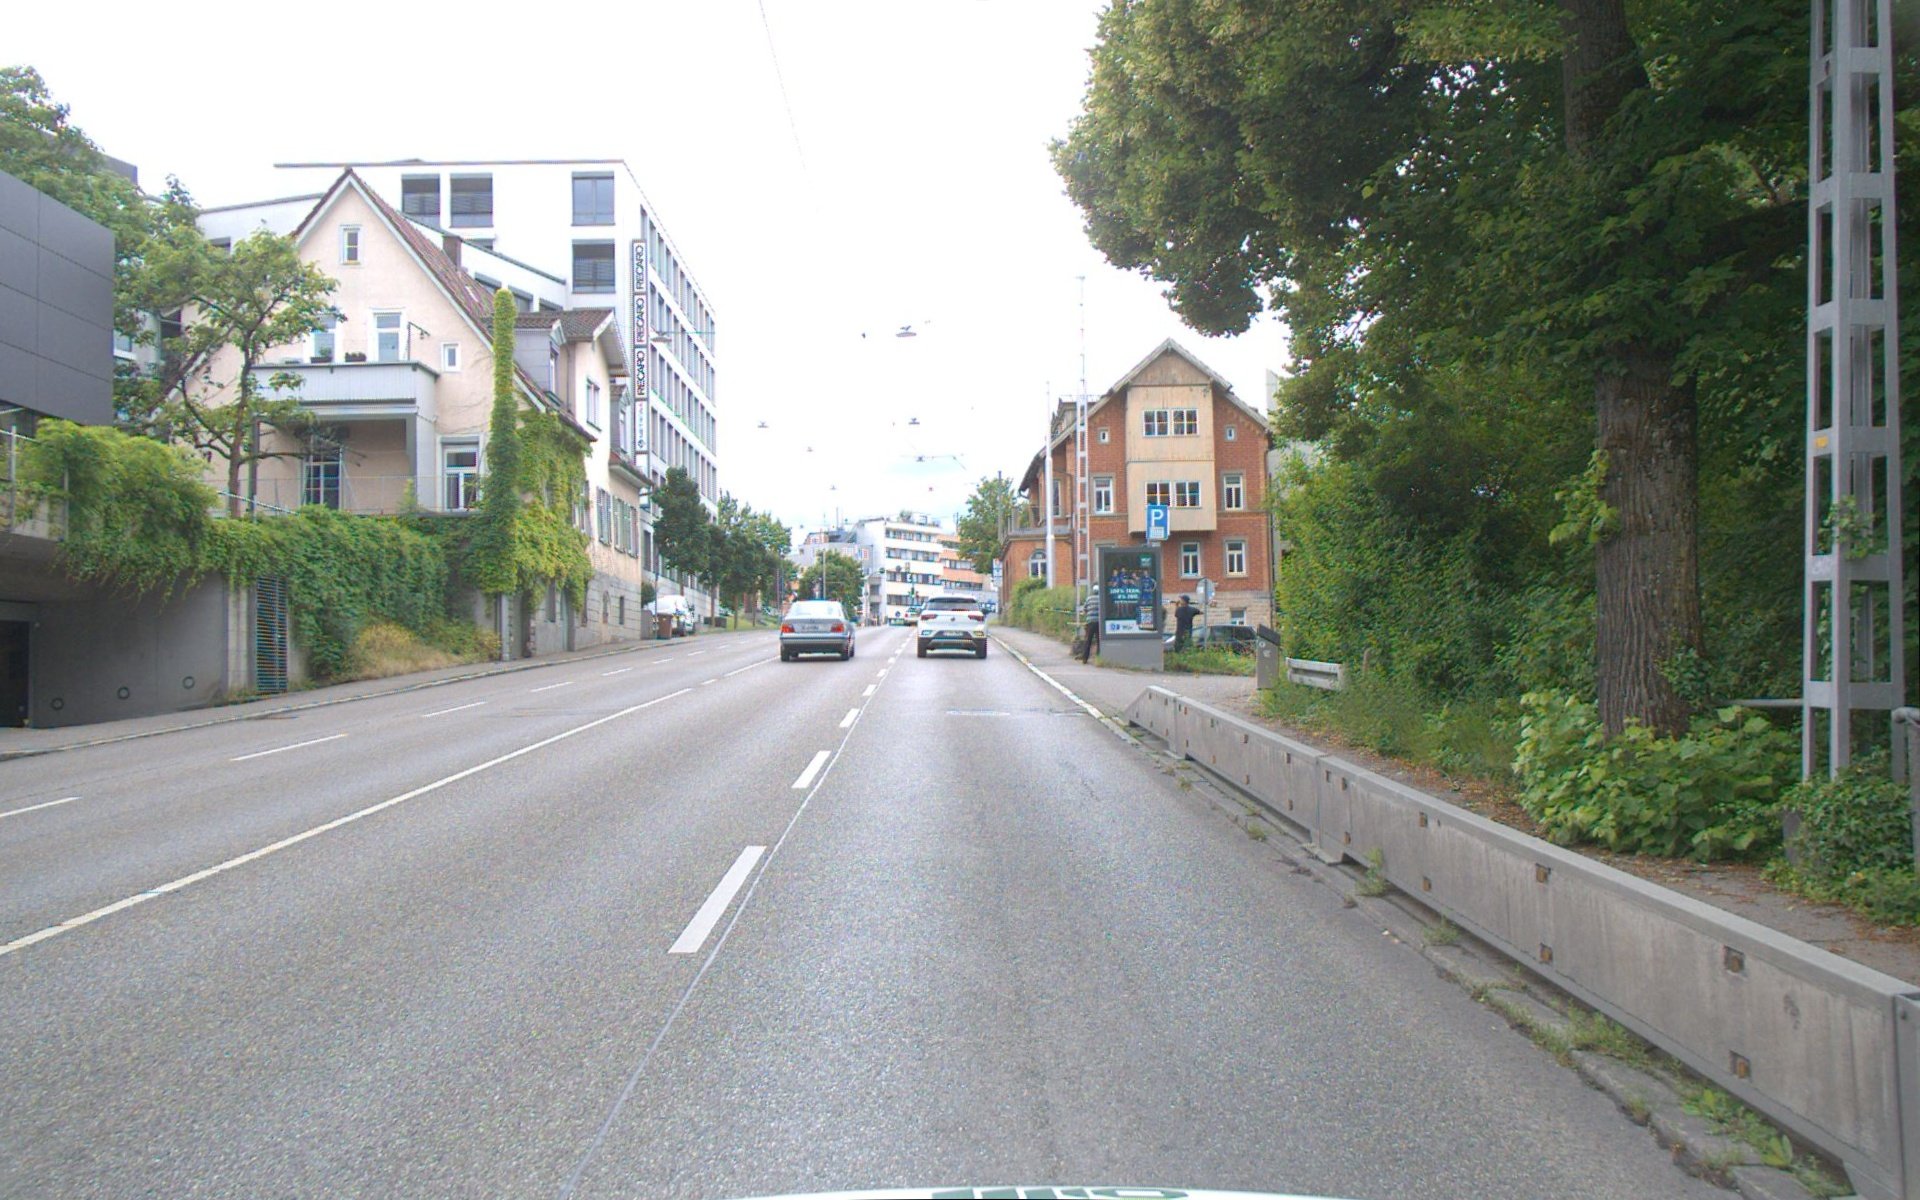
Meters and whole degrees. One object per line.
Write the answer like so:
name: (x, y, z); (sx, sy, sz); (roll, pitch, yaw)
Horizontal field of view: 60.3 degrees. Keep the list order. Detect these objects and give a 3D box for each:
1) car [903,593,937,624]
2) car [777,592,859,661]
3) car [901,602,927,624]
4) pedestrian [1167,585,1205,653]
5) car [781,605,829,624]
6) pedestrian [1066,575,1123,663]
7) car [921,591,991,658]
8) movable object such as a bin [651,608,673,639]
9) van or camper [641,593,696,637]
car: (-2.228, 0.458, 92.673); (1.793, 1.680, 3.999); (-1, 0, -1)
car: (-3.350, 0.602, 39.465); (1.665, 1.542, 3.735); (-1, 0, -1)
car: (-3.346, 0.949, 120.440); (1.793, 1.489, 3.999); (-1, 0, -1)
pedestrian: (5.400, 0.451, 39.458); (0.579, 1.599, 0.639); (-2, 0, -38)
car: (-13.212, 1.281, 140.960); (1.751, 1.571, 3.974); (-2, -2, 43)
pedestrian: (2.982, 0.419, 36.645); (0.806, 1.917, 0.936); (-2, 0, -36)
car: (-0.120, 0.592, 42.092); (1.665, 1.575, 3.735); (2, 0, -1)
movable object such as a bin: (-12.000, 0.953, 66.628); (0.795, 1.210, 0.697); (3, -1, -7)
van or camper: (-14.069, 0.702, 79.985); (2.019, 2.002, 4.869); (-1, 0, -3)
